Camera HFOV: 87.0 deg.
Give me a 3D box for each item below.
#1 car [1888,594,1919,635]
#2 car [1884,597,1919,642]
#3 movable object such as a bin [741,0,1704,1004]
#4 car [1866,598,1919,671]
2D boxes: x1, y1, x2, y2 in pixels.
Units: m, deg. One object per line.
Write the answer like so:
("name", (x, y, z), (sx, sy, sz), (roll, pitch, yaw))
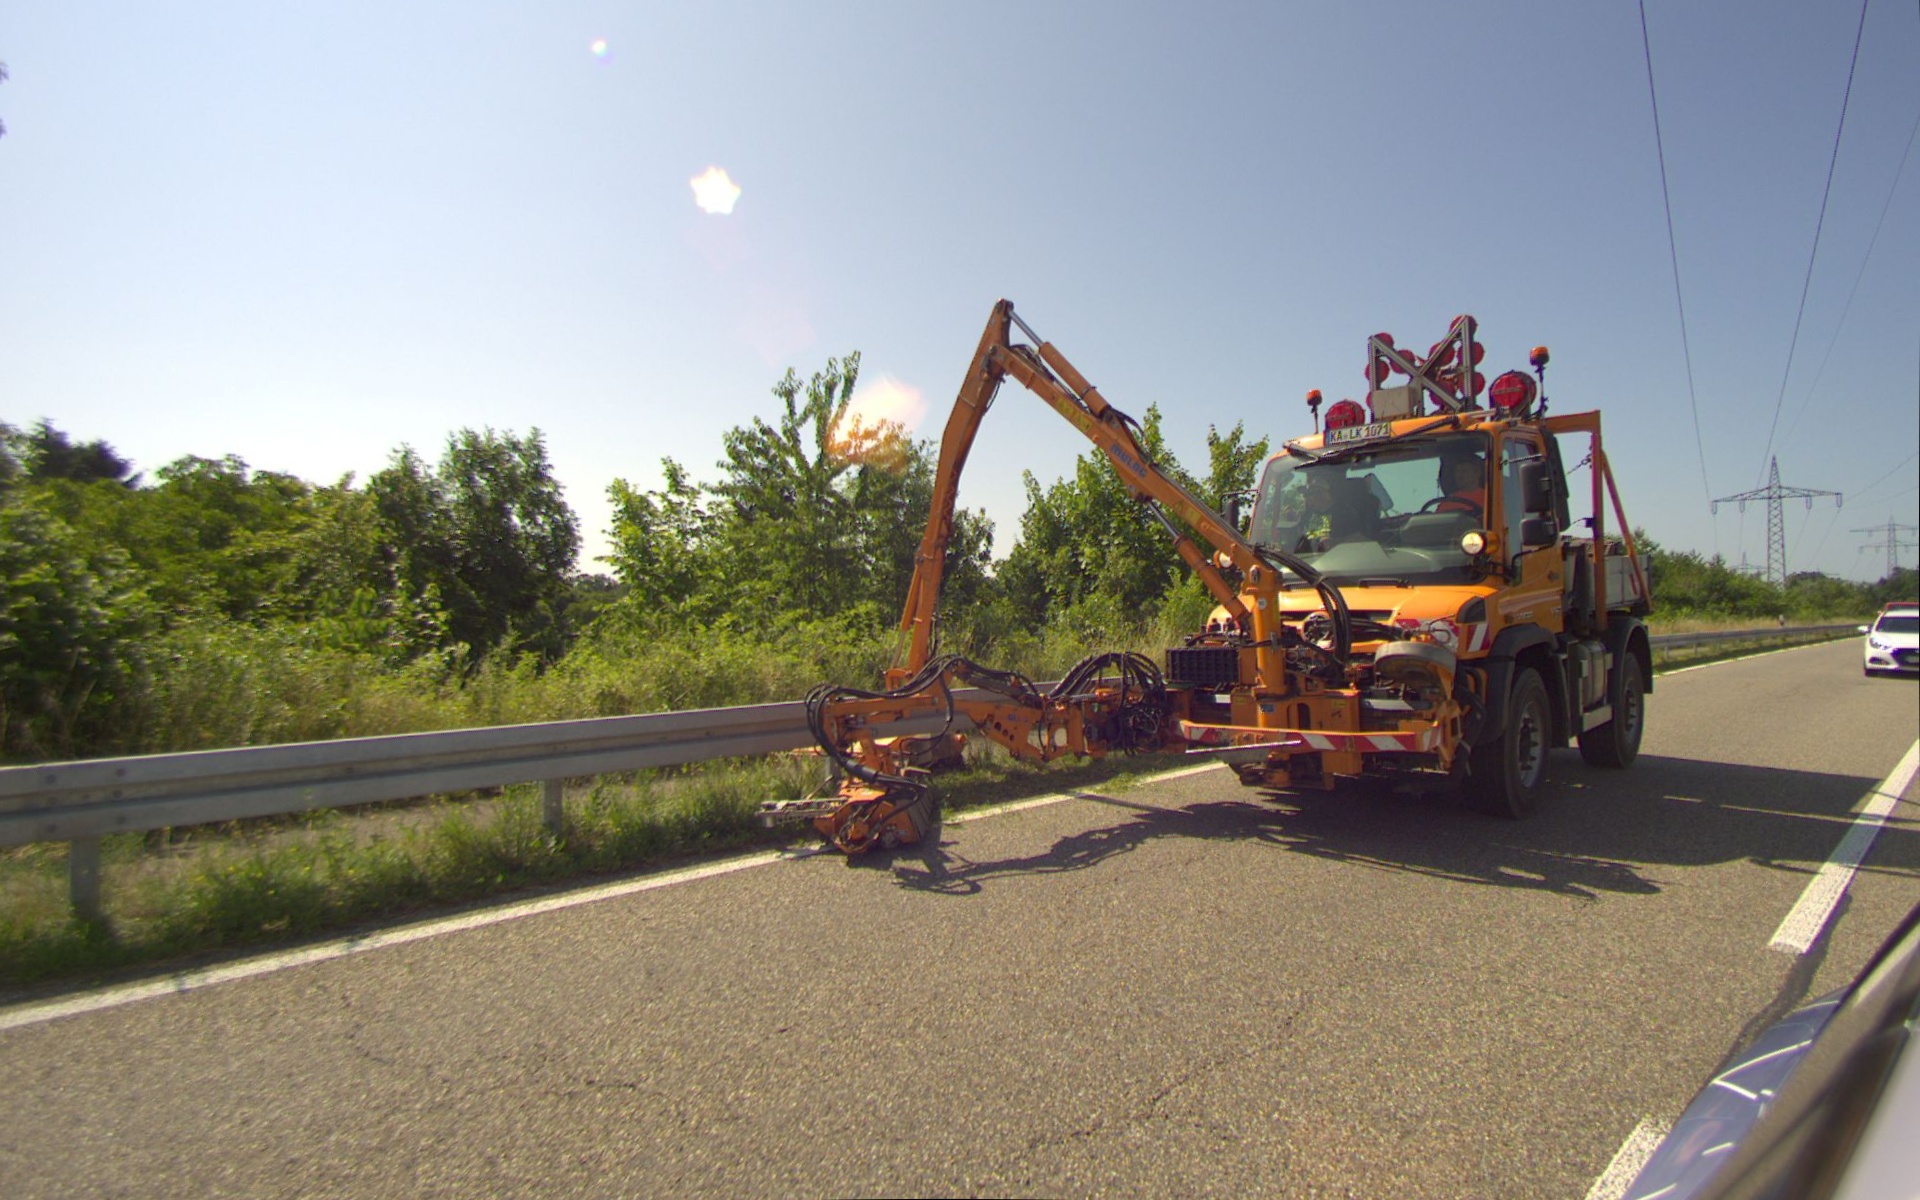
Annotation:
("car", (47.771, 0.729, 50.428), (2.121, 1.970, 4.938), (0, 0, 44))
("car", (35.823, 0.716, 37.706), (1.916, 1.568, 4.722), (0, 0, 41))
("movable object such as a bin", (3.093, -0.540, 7.750), (9.289, 3.888, 2.755), (1, 0, -44))
("car", (21.966, 0.743, 23.017), (1.916, 1.524, 4.722), (0, 0, 41))
